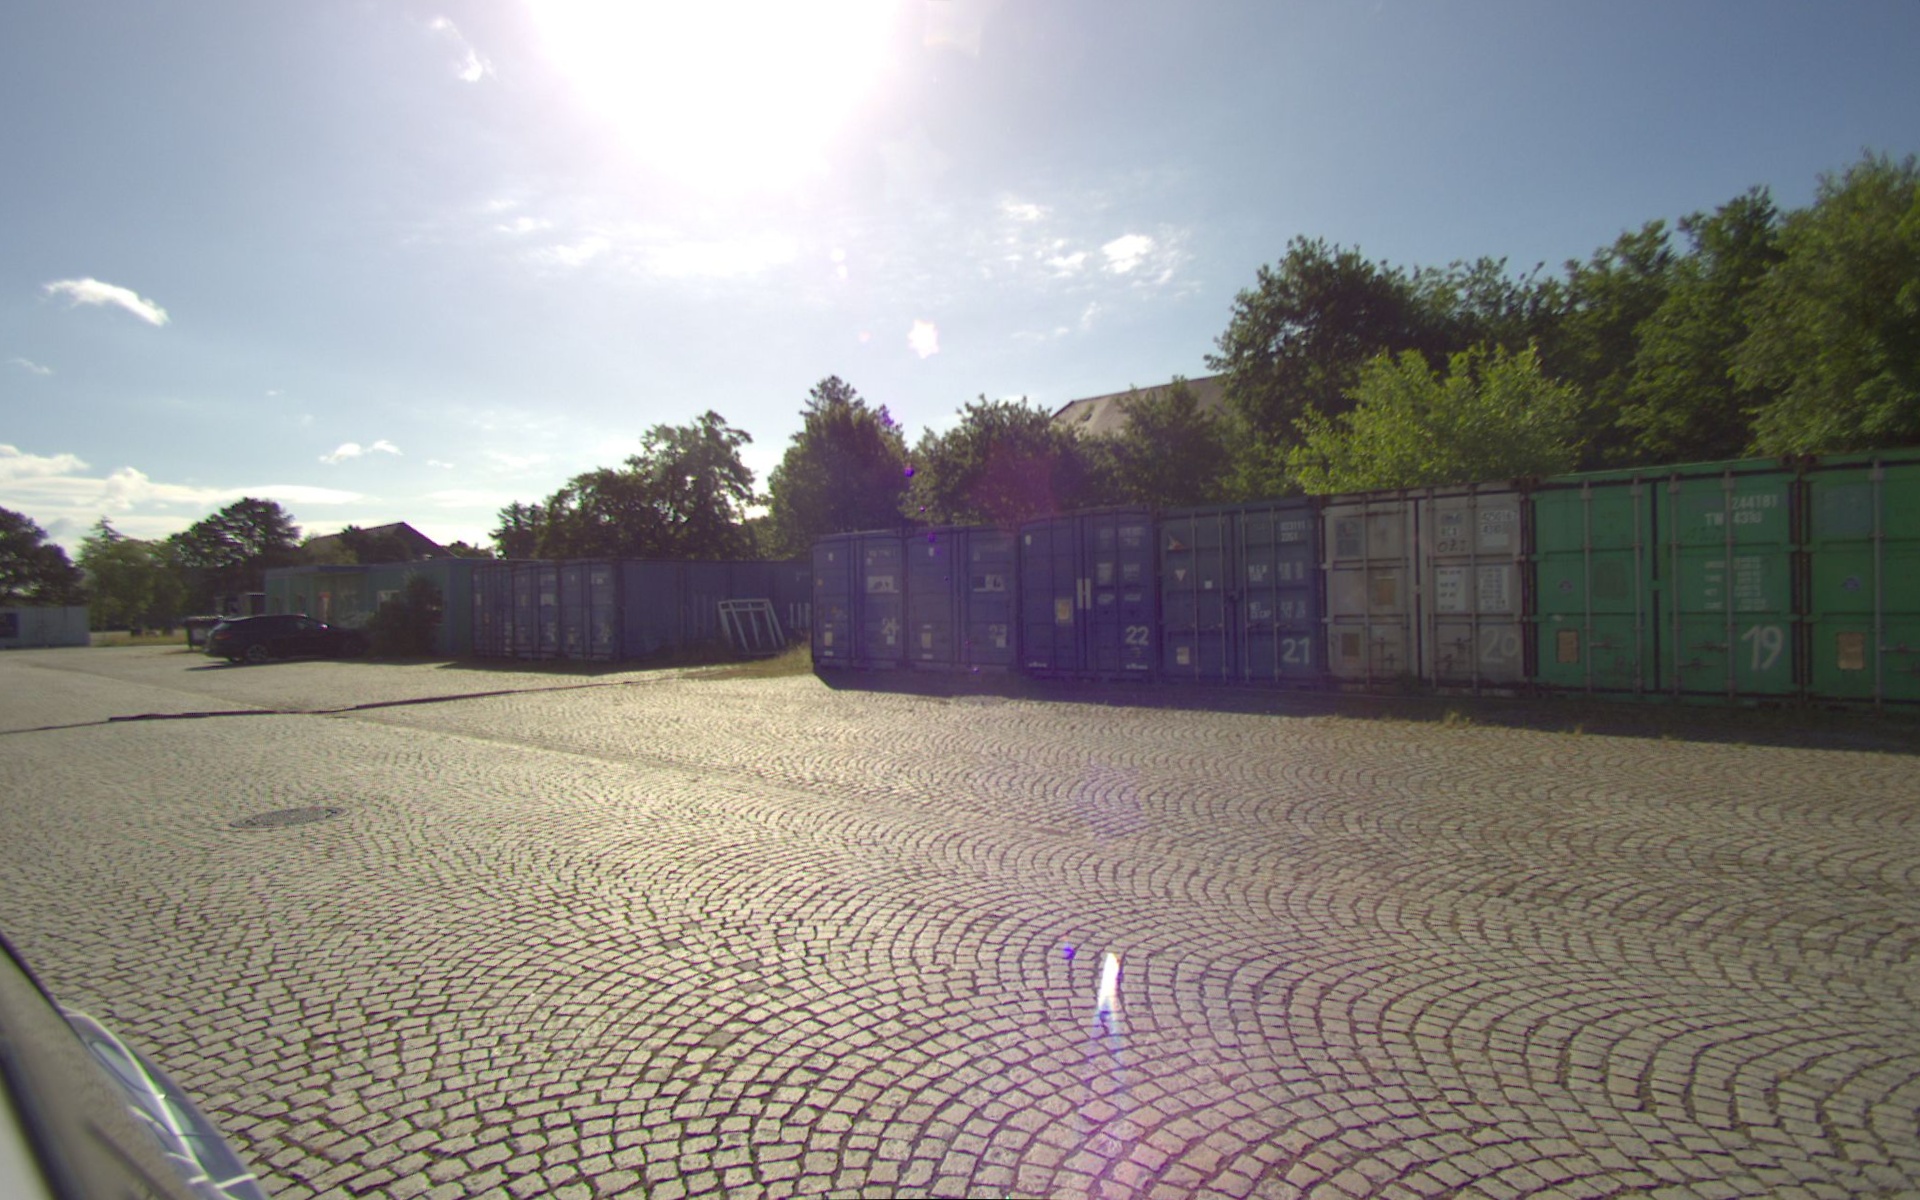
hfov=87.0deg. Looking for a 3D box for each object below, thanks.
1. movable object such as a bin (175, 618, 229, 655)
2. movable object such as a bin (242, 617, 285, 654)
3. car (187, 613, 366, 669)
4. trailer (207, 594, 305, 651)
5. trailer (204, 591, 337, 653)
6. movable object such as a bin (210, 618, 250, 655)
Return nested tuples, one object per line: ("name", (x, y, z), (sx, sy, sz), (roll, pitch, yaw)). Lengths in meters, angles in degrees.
("movable object such as a bin", (-32.397, 1.543, 43.283), (1.416, 1.469, 1.158), (-2, 1, -7))
("movable object such as a bin", (-28.738, 1.466, 41.751), (1.435, 1.469, 0.876), (-1, 1, 30))
("car", (-21.059, 1.204, 31.331), (1.929, 1.460, 4.211), (-1, 1, 38))
("trailer", (-33.265, 1.035, 47.858), (2.043, 2.488, 3.350), (-1, 1, 41))
("trailer", (-31.430, 0.960, 46.238), (1.948, 2.587, 4.595), (-1, 1, 36))
("movable object such as a bin", (-30.485, 1.506, 42.279), (1.439, 1.469, 1.007), (-1, 1, 40))
